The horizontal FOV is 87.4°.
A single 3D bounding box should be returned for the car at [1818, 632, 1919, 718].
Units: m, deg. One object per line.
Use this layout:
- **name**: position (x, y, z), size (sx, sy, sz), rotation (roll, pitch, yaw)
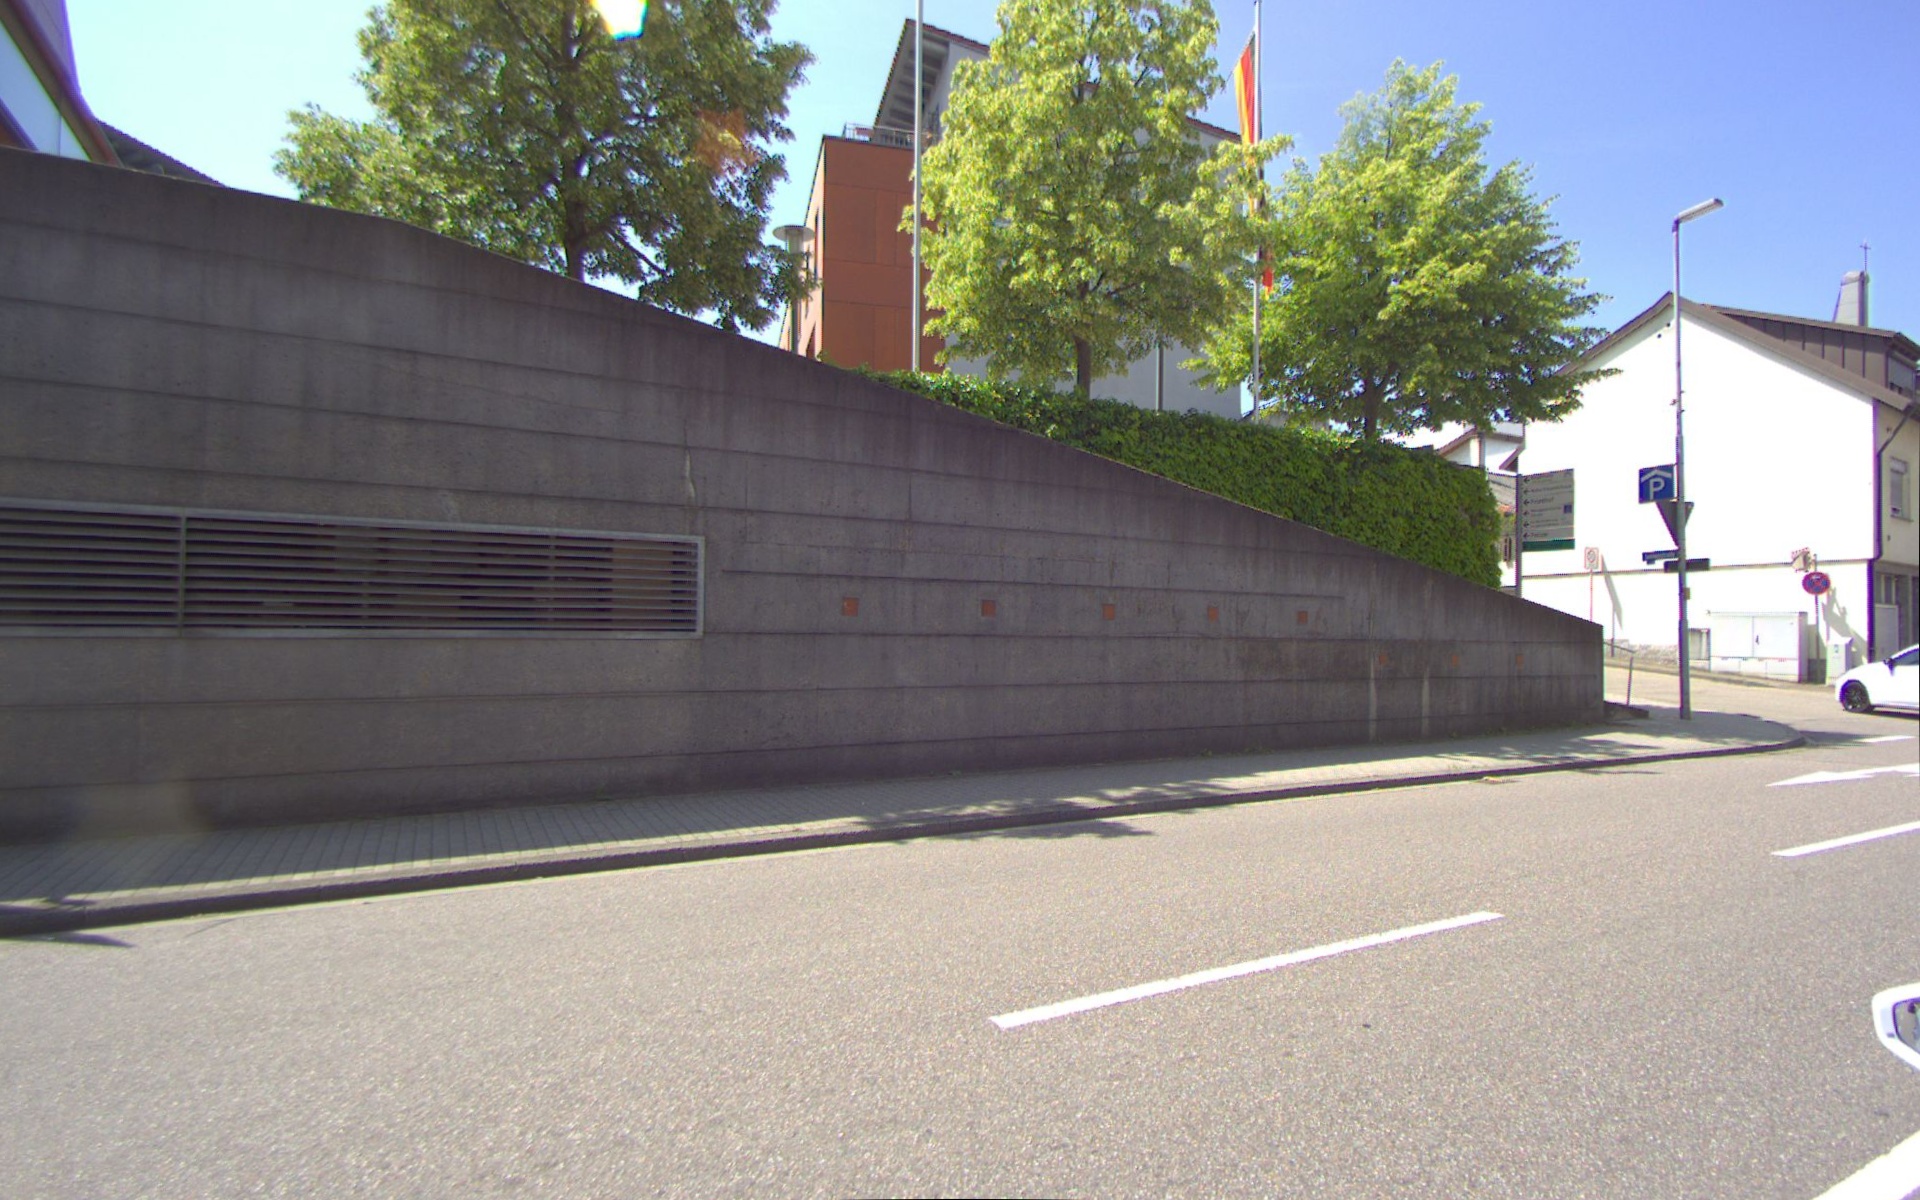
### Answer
- **car**: position (18.127, 1.407, 18.271), size (1.777, 1.487, 4.002), rotation (2, 0, 4)
